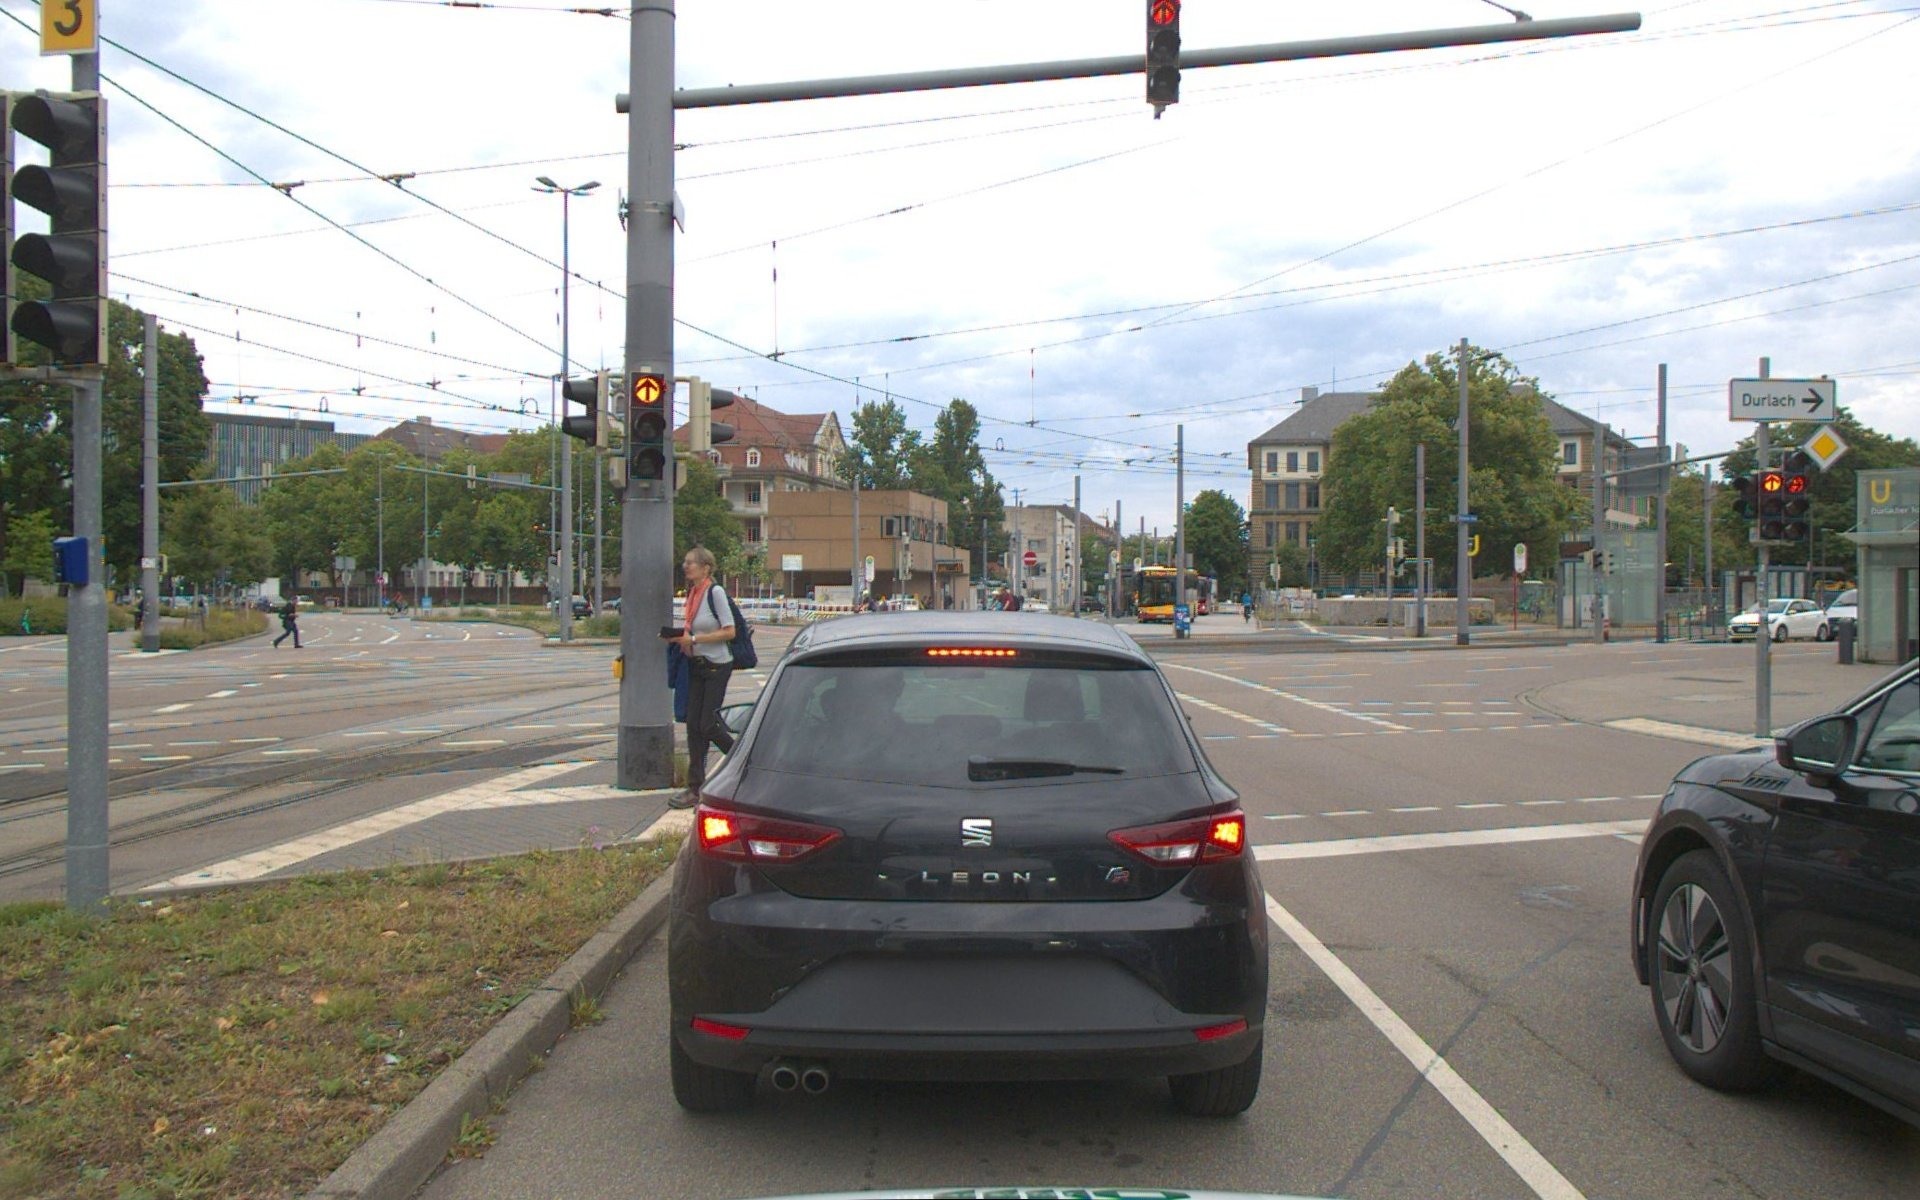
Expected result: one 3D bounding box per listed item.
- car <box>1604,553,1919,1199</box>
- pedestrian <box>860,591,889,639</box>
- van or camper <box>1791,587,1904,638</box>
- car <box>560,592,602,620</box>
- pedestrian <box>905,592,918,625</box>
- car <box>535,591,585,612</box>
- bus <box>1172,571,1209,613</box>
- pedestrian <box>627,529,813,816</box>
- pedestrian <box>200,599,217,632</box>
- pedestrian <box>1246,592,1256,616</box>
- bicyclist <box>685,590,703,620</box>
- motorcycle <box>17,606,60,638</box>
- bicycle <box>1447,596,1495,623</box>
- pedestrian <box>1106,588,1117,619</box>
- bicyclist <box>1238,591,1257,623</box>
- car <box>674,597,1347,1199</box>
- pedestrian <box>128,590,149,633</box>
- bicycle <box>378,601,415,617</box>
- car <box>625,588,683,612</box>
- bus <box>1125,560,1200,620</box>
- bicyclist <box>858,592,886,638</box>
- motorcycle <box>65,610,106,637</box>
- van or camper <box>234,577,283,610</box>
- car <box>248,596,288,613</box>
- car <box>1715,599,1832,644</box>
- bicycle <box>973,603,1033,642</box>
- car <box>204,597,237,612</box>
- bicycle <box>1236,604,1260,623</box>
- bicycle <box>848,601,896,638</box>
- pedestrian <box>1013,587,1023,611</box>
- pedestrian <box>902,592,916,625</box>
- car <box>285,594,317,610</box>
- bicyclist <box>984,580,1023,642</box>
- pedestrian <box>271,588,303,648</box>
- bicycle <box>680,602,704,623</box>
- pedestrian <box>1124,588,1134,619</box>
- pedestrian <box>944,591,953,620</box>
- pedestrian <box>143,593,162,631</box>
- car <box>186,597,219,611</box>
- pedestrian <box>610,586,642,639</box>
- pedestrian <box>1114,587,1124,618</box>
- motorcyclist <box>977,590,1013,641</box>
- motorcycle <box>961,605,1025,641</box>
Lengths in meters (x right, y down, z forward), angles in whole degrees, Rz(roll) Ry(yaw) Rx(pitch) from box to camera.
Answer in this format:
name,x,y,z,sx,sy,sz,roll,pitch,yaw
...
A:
name,x,y,z,sx,sy,sz,roll,pitch,yaw
car,3.275,0.700,3.773,1.741,1.625,4.508,0,0,-2
pedestrian,-3.517,0.610,67.829,0.687,1.968,1.026,0,0,38
van or camper,32.122,0.460,59.846,4.257,1.773,1.974,0,-1,-36
car,-23.944,0.384,104.389,1.966,1.713,3.973,0,-1,-22
pedestrian,-2.869,0.503,97.319,0.693,1.951,0.624,0,0,7
car,-34.035,0.125,140.736,3.930,1.803,1.705,0,0,-21
bus,19.160,-0.664,136.965,2.597,3.340,11.004,0,0,10
pedestrian,-1.712,0.491,11.830,1.096,1.940,0.724,1,-1,-44
pedestrian,-47.040,0.974,103.546,0.865,2.016,0.791,0,-1,-19
pedestrian,24.432,0.349,138.827,0.648,2.049,0.691,0,0,-1
bicyclist,-15.567,0.296,96.631,0.870,1.762,0.888,0,0,-22
motorcycle,-37.890,0.884,68.002,0.503,1.290,1.463,0,0,43
bicycle,25.530,0.486,82.641,2.214,1.354,0.707,-1,-1,6
pedestrian,9.531,0.192,104.173,0.608,1.951,0.699,0,0,9
bicyclist,17.133,0.399,98.568,0.854,1.884,1.046,0,0,-6
car,-0.011,0.732,5.981,1.671,1.474,3.808,0,0,-5
pedestrian,-38.548,0.557,77.607,0.787,2.016,0.870,1,-2,-35
bicycle,-42.104,0.684,123.638,0.921,1.199,2.726,0,0,28
car,-22.695,0.030,122.681,3.905,1.713,2.000,0,-1,0
bus,11.561,-0.529,93.636,2.897,3.178,11.548,0,0,14
bicyclist,-3.277,0.542,61.649,0.844,1.702,0.648,0,0,-28
motorcycle,-36.972,0.986,69.944,0.499,1.130,1.746,0,0,12
van or camper,-69.248,-0.614,163.188,5.403,3.179,2.382,0,0,41
car,-59.554,0.388,142.307,3.930,1.489,1.770,0,0,43
car,27.461,0.724,55.822,3.948,1.490,1.756,0,-1,-32
bicycle,1.374,0.695,52.042,0.764,1.205,2.019,0,0,43
car,-75.358,0.444,168.552,3.932,1.489,1.770,1,1,44
bicycle,17.137,0.801,98.511,0.849,1.124,2.299,0,0,-5
bicycle,-3.280,0.722,61.647,1.711,1.345,0.639,0,0,-29
pedestrian,4.841,-0.098,139.091,0.609,1.952,0.710,-1,-1,25
pedestrian,-2.986,0.489,96.521,0.693,1.951,0.624,0,0,7
car,-65.208,0.173,163.568,1.766,1.489,3.940,0,1,-41
bicyclist,1.380,0.350,52.033,0.764,1.931,0.990,0,0,43
pedestrian,-23.496,0.617,57.774,1.006,2.049,0.841,0,0,-20
bicycle,-15.747,0.708,97.115,0.879,1.199,2.286,0,0,-22
pedestrian,10.668,0.190,104.522,0.608,1.951,0.699,0,0,9
pedestrian,-0.777,0.380,112.598,0.608,1.951,0.711,0,0,2
pedestrian,-42.457,0.629,86.942,0.787,2.016,0.870,1,-2,-35
car,-80.699,0.437,176.153,3.926,1.489,1.772,1,1,41
pedestrian,-12.450,0.460,61.691,1.015,1.968,0.695,0,0,-26
pedestrian,10.181,0.152,105.656,0.608,1.951,0.711,0,0,2
motorcyclist,1.181,0.522,55.552,0.969,1.678,0.741,0,-1,-34
motorcycle,1.121,0.768,55.493,2.115,1.159,0.735,0,0,-34
